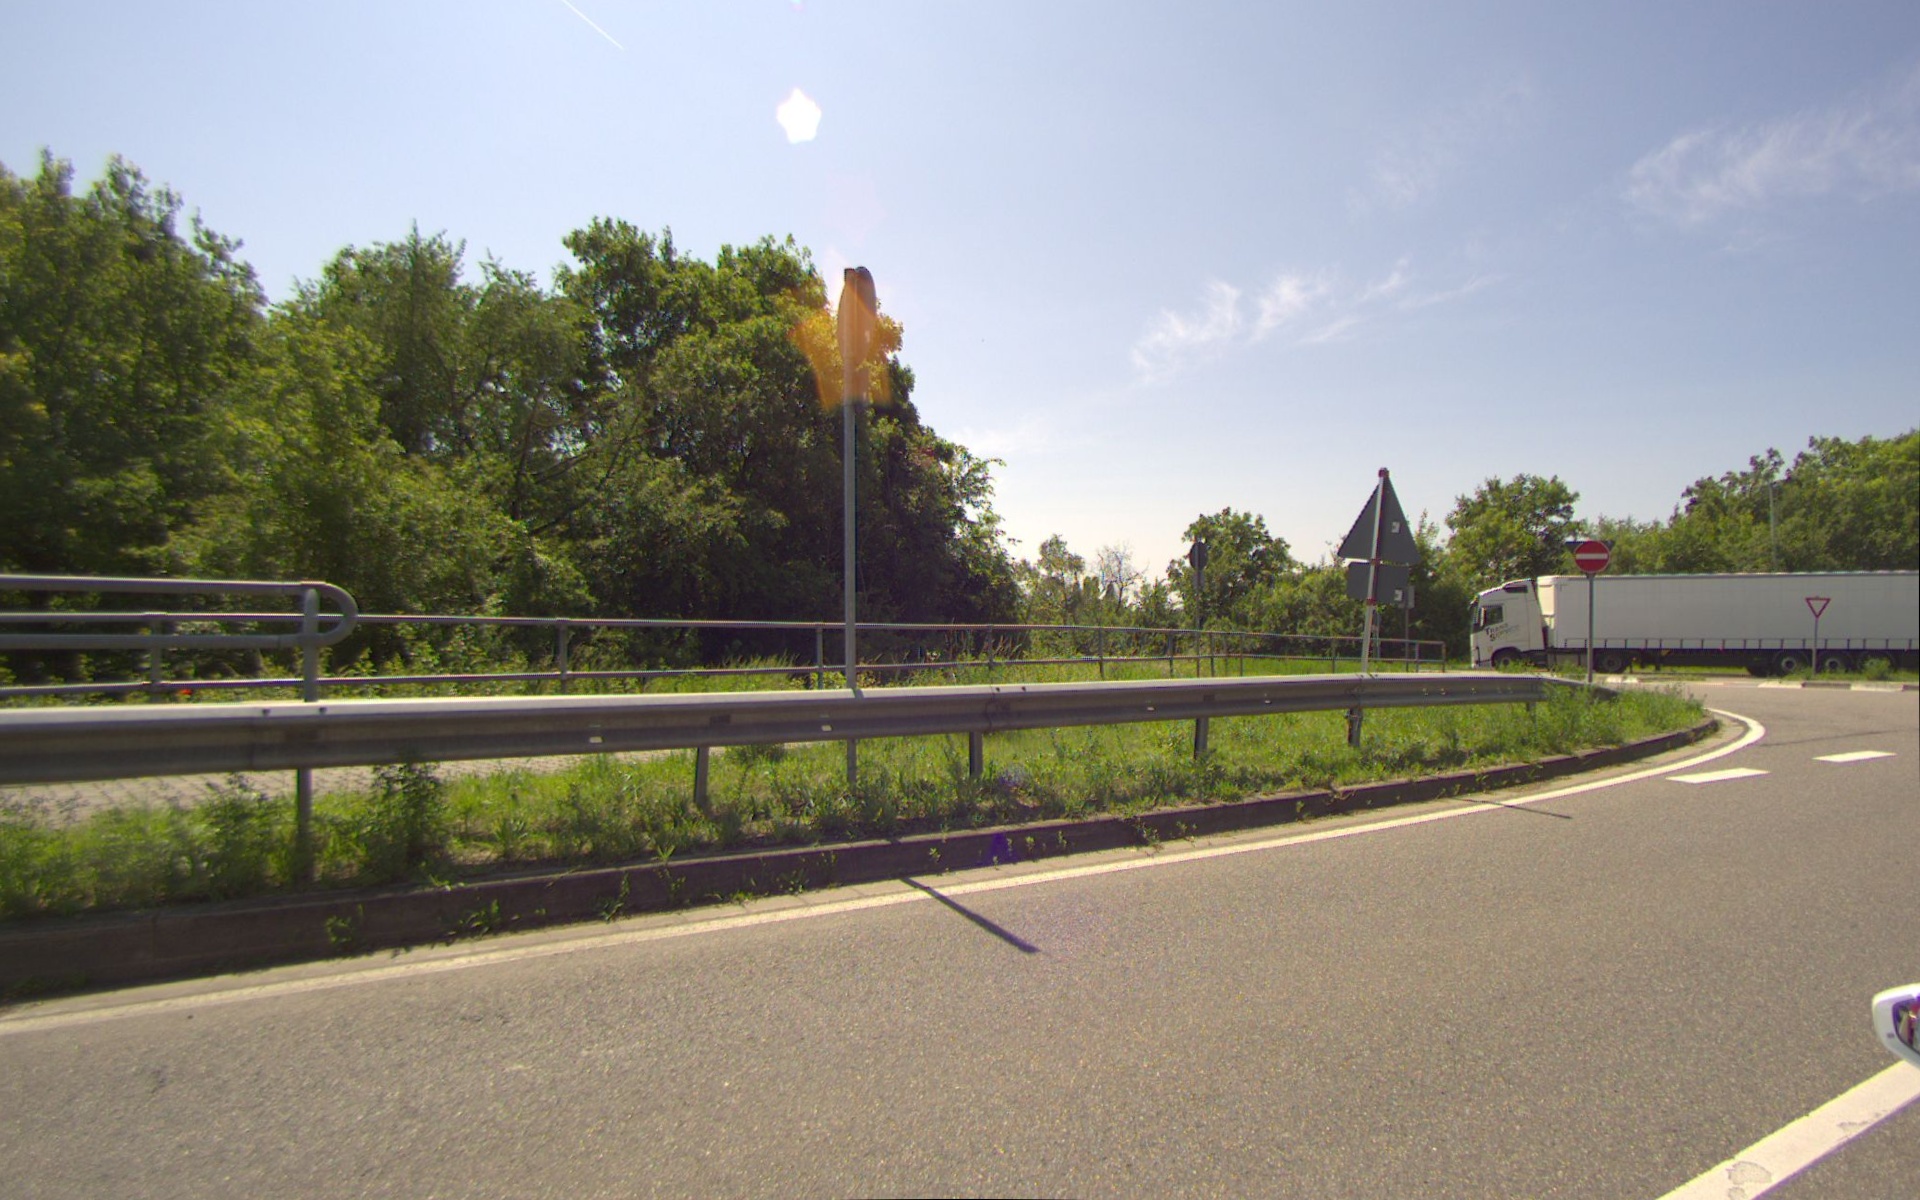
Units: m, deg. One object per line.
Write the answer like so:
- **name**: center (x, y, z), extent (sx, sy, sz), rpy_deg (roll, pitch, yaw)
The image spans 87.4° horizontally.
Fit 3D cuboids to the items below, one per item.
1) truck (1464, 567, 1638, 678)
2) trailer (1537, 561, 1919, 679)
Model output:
- **truck**: center (24.355, 0.917, 41.765), extent (5.814, 4.333, 2.997), rpy_deg (-1, 0, 23)
- **trailer**: center (30.880, 0.822, 39.778), extent (13.514, 4.333, 3.000), rpy_deg (-1, 0, 15)
